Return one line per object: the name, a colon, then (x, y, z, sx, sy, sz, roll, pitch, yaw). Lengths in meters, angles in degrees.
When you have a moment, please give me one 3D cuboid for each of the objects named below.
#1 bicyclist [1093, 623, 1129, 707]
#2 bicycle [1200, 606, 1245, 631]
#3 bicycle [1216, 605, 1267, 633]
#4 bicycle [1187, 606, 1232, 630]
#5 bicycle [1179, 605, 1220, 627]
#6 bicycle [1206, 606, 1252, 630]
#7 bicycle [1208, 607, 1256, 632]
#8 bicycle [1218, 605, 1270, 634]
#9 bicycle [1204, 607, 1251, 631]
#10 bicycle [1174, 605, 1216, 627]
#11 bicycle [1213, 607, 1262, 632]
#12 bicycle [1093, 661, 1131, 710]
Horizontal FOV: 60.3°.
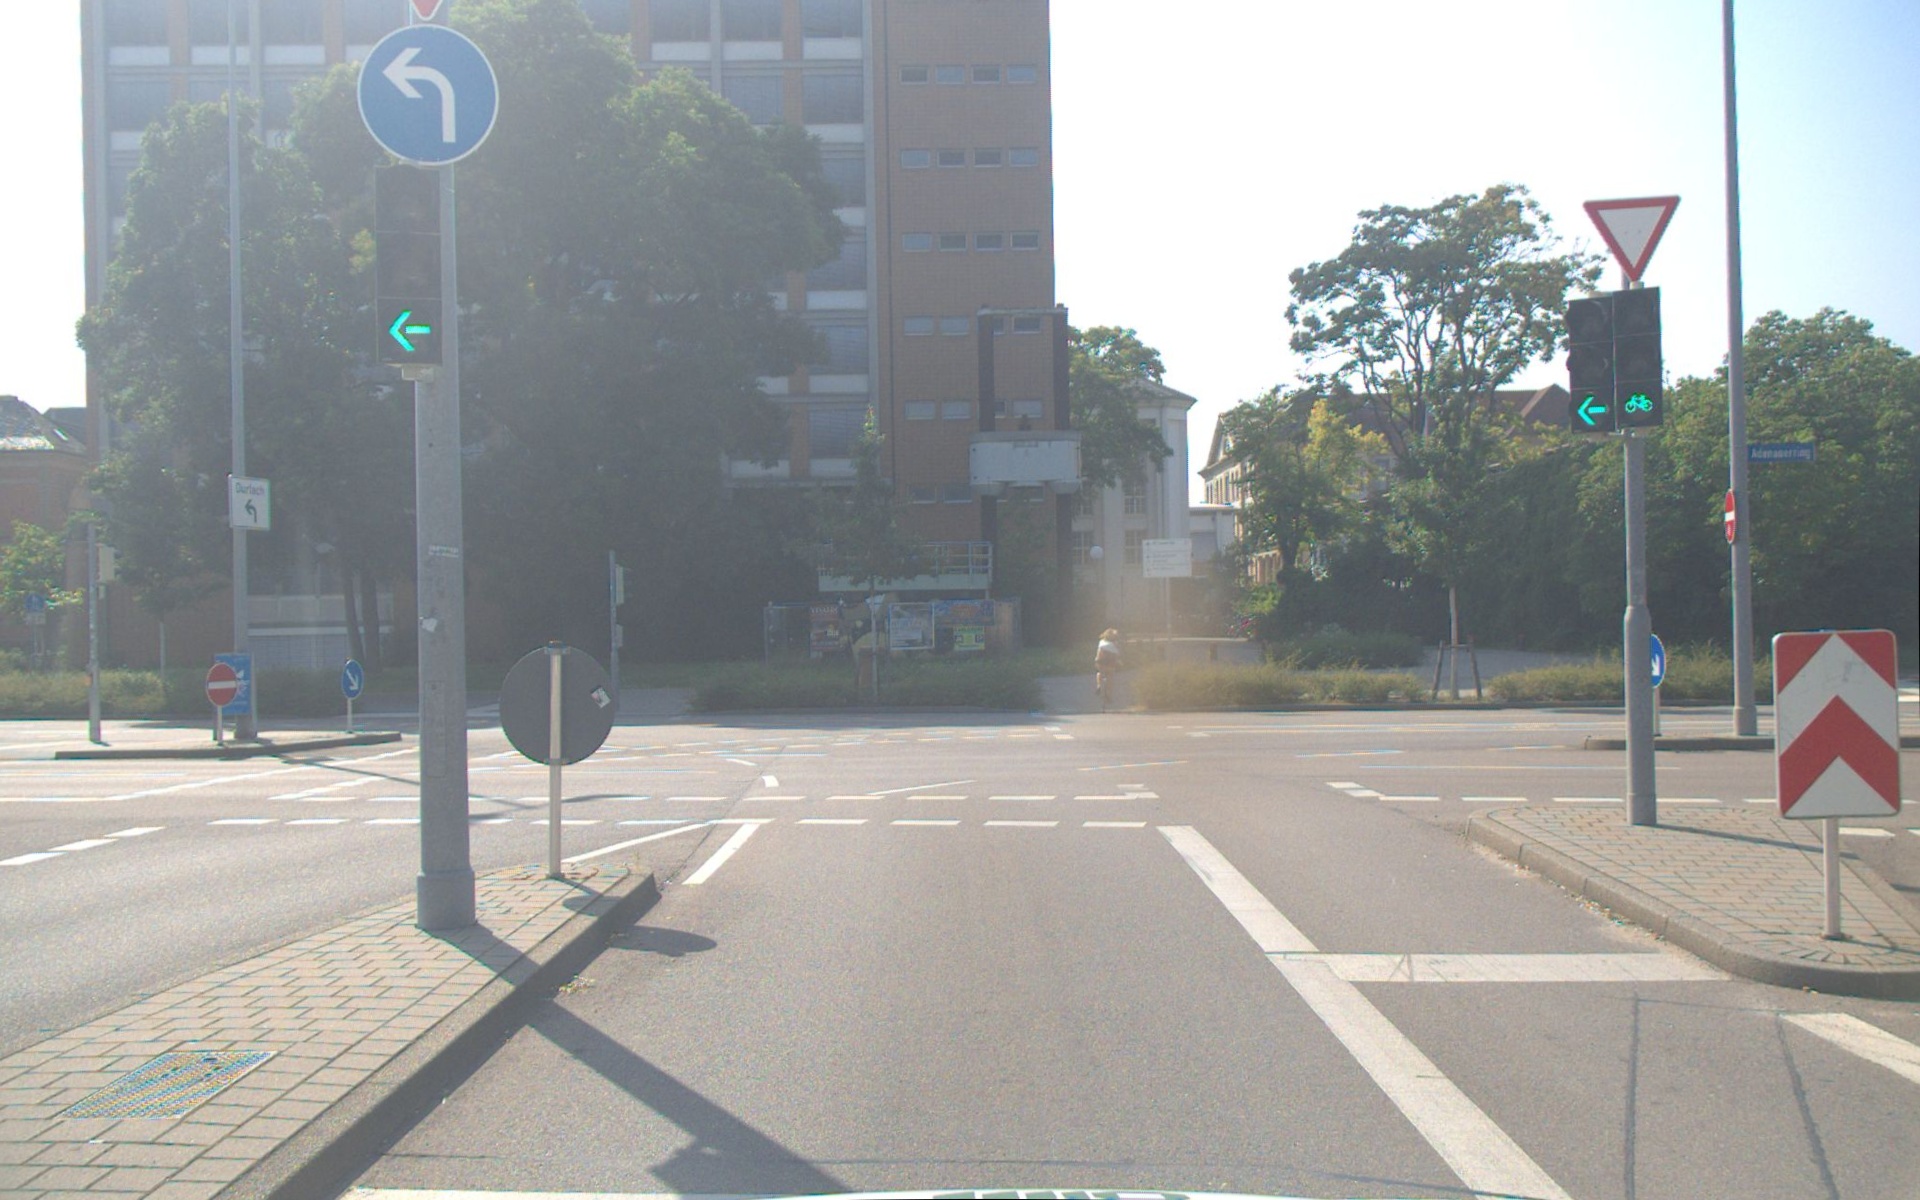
bicyclist: (3.035, 1.294, 33.213, 0.636, 1.629, 0.920, -1, -1, 8)
bicycle: (14.149, 1.006, 89.164, 2.375, 1.304, 0.720, 0, -1, 4)
bicycle: (13.611, 0.919, 79.938, 2.375, 1.341, 0.720, 0, -1, 4)
bicycle: (13.630, 0.965, 90.414, 2.375, 1.304, 0.720, 0, -1, 4)
bicycle: (14.039, 0.955, 97.014, 2.375, 1.285, 0.720, 0, -1, 4)
bicycle: (14.243, 0.966, 87.576, 2.375, 1.250, 0.720, 0, -1, 4)
bicycle: (14.073, 0.999, 85.600, 2.375, 1.256, 0.720, 0, -1, 4)
bicycle: (13.539, 0.916, 78.803, 2.375, 1.341, 0.720, 0, -1, 4)
bicycle: (13.987, 0.990, 86.540, 2.375, 1.261, 0.720, 0, -1, 4)
bicycle: (13.942, 0.961, 98.195, 2.375, 1.303, 0.720, 0, -1, 4)
bicycle: (13.828, 0.964, 82.472, 2.375, 1.245, 0.720, 0, -1, 4)
bicycle: (3.042, 1.702, 33.058, 0.659, 0.895, 1.402, -1, 0, 8)
